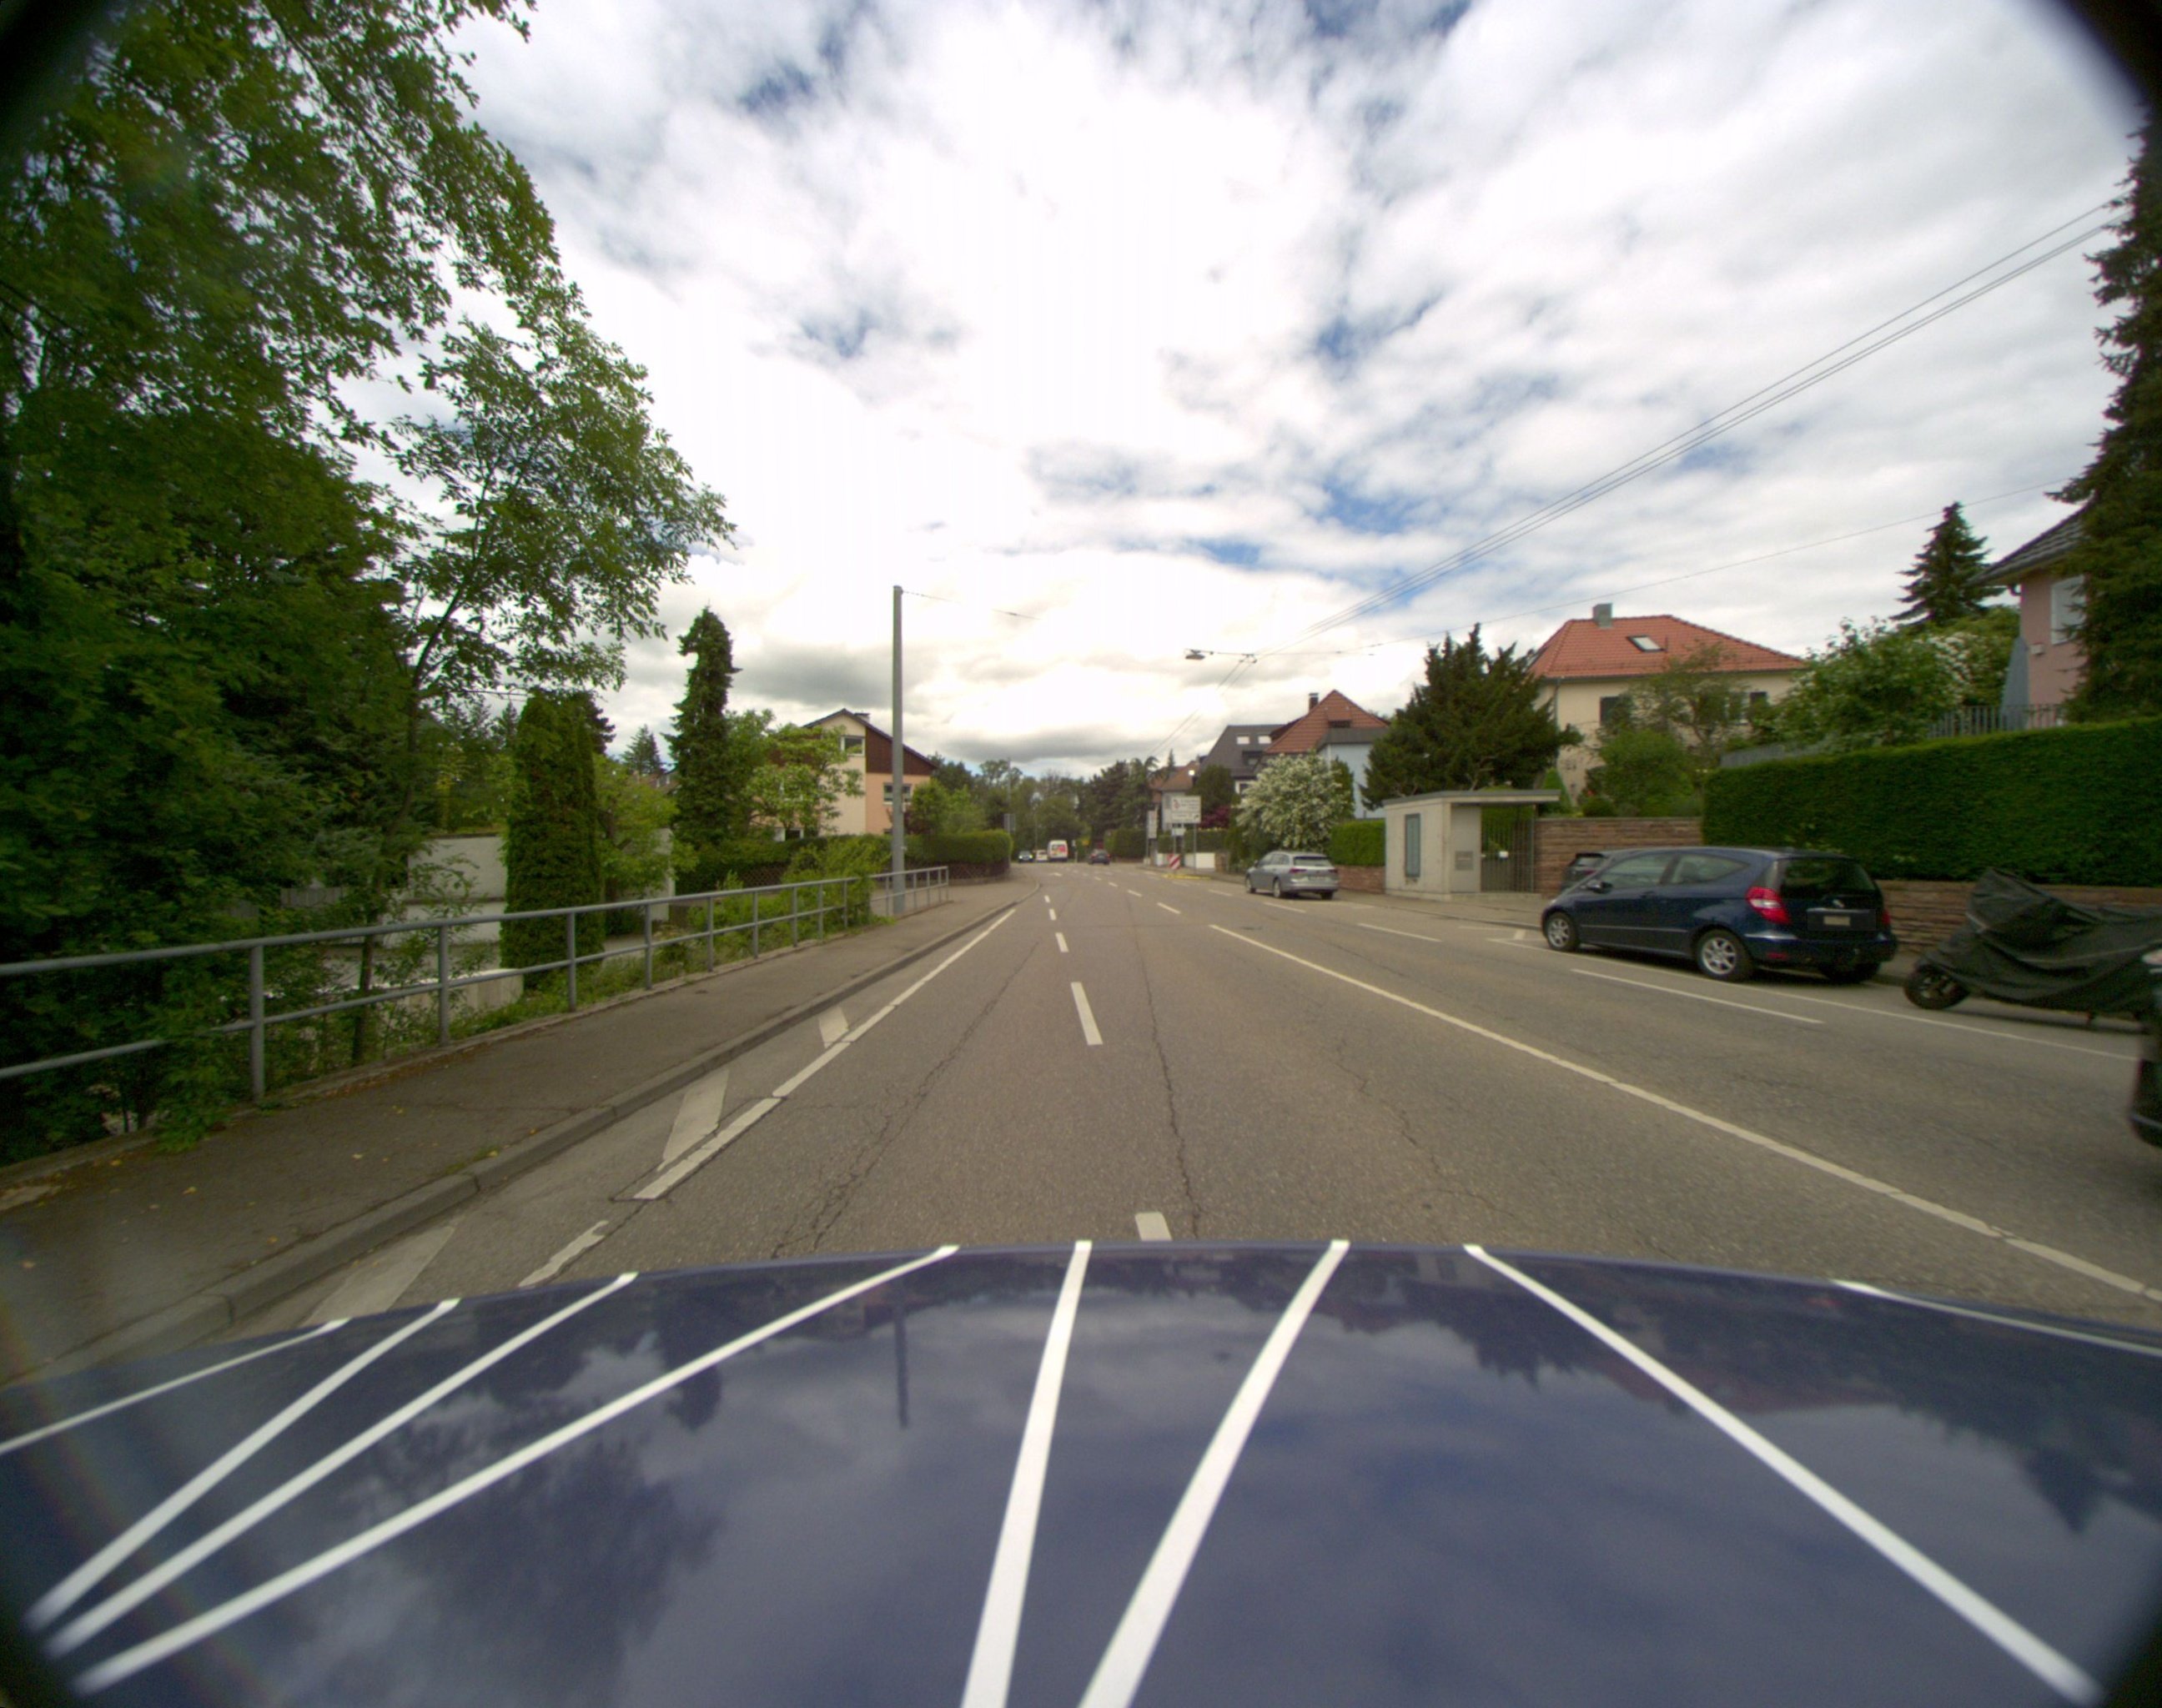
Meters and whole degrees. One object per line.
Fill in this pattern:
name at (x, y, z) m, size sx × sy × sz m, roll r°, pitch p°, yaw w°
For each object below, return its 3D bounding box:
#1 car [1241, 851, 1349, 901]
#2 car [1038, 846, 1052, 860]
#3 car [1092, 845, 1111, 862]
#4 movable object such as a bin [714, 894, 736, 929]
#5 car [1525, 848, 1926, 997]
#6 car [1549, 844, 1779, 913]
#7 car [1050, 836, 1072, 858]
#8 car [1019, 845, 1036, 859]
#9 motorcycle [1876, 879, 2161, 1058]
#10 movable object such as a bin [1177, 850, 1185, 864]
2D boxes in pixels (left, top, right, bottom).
car at (6.754, 0.642, 24.497) m, size 1.815 × 1.447 × 4.410 m, roll 0°, pitch 0°, yaw -7°
car at (-5.754, -0.121, 119.909) m, size 1.864 × 2.035 × 5.169 m, roll -1°, pitch -1°, yaw -6°
car at (1.889, -0.047, 71.244) m, size 1.738 × 1.544 × 4.447 m, roll 0°, pitch 0°, yaw 0°
movable object such as a bin at (-10.818, 1.748, 23.072) m, size 0.541 × 0.969 × 0.508 m, roll -4°, pitch 6°, yaw -25°
car at (8.059, 0.725, 10.091) m, size 1.684 × 1.547 × 3.968 m, roll 1°, pitch 1°, yaw -5°
car at (12.633, 0.506, 16.670) m, size 3.596 × 1.383 × 1.850 m, roll -1°, pitch 1°, yaw 4°
car at (-2.387, -0.828, 87.633) m, size 2.118 × 2.484 × 6.120 m, roll 0°, pitch 1°, yaw -6°
car at (-7.373, -0.280, 104.247) m, size 1.864 × 1.855 × 4.608 m, roll 0°, pitch -1°, yaw -9°
motorcycle at (8.512, 0.905, 6.429) m, size 0.890 × 1.347 × 2.302 m, roll 1°, pitch -2°, yaw -21°
movable object such as a bin at (7.155, 0.196, 54.425) m, size 0.509 × 0.968 × 0.540 m, roll 0°, pitch 1°, yaw -3°
